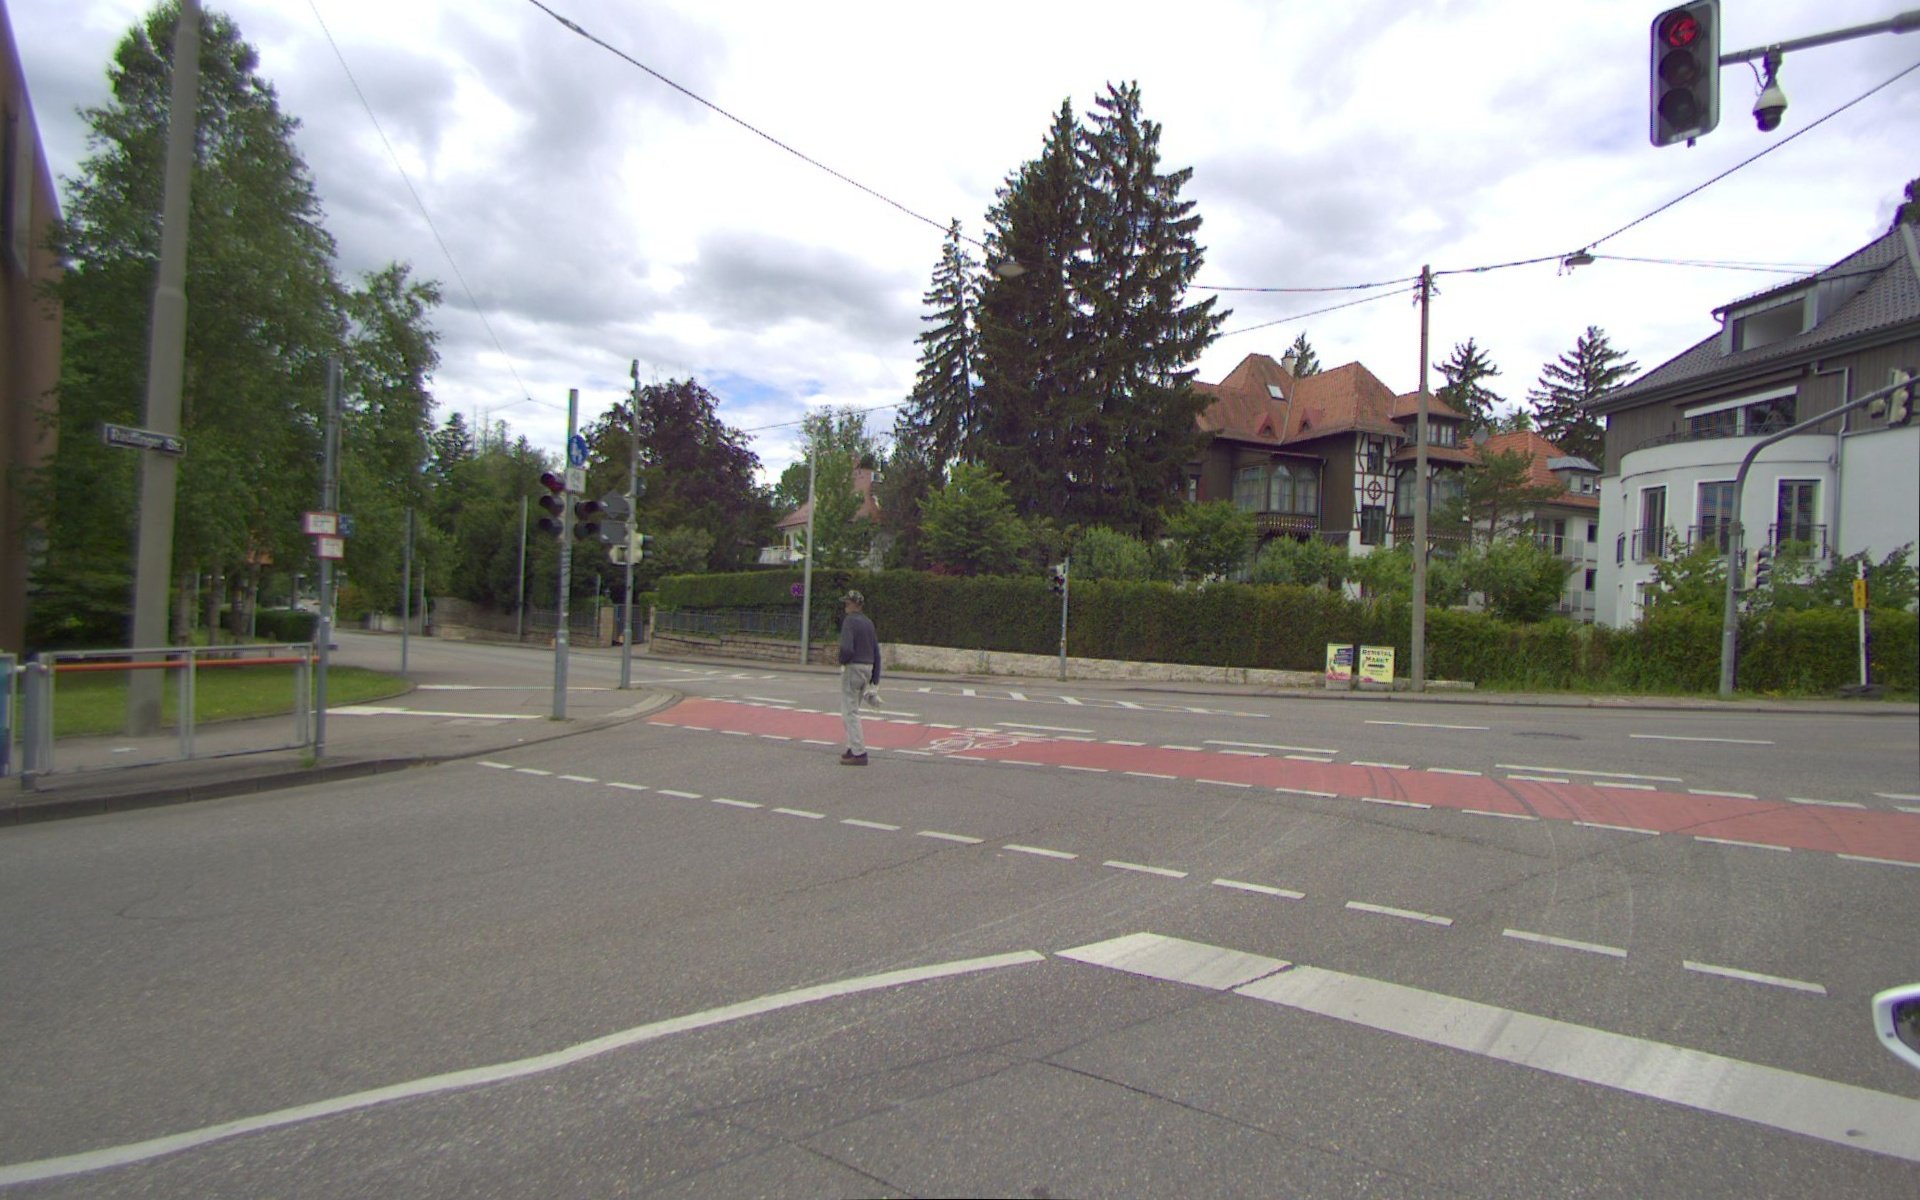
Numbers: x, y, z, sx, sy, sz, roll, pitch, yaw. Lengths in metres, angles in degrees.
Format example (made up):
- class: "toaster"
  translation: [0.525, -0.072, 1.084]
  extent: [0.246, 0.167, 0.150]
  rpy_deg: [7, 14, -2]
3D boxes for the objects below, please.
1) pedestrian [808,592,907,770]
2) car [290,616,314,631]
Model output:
- class: "pedestrian"
  translation: [-0.992, 0.762, 9.827]
  extent: [0.726, 1.655, 0.683]
  rpy_deg: [-1, -1, 22]
- class: "car"
  translation: [-75.290, 2.658, 114.936]
  extent: [1.798, 1.734, 3.990]
  rpy_deg: [2, -2, -39]
